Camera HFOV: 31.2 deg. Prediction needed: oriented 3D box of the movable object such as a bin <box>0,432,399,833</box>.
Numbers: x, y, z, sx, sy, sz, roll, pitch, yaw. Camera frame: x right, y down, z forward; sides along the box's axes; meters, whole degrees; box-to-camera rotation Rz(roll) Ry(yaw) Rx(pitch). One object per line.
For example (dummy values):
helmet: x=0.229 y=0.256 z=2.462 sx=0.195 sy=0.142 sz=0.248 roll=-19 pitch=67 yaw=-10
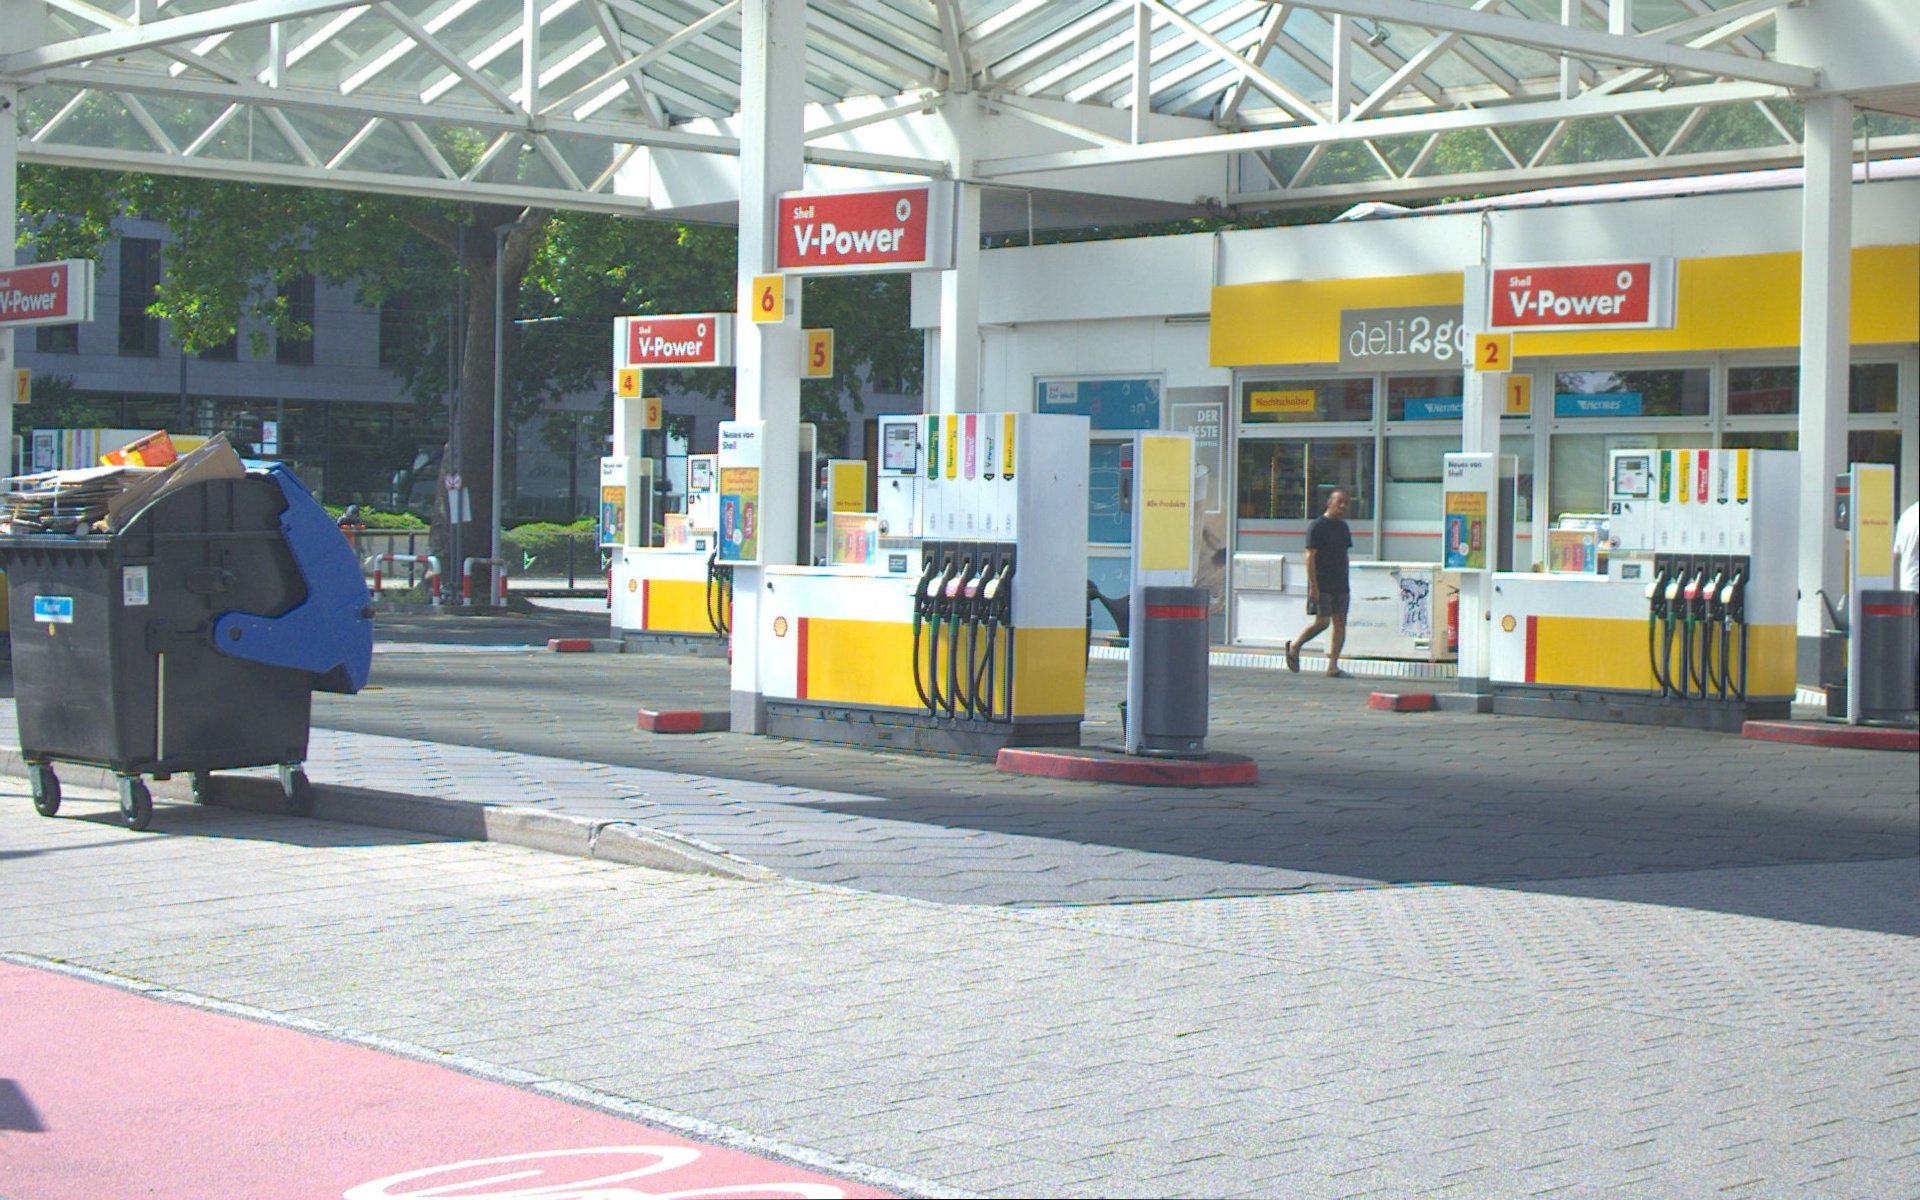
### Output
movable object such as a bin: x=-3.345 y=0.091 z=14.639 sx=1.308 sy=1.586 sz=1.395 roll=-3 pitch=4 yaw=-43

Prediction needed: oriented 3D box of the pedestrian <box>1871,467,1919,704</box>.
pedestrian: x=7.690 y=-0.109 z=26.964 sx=0.857 sy=1.831 sz=0.744 roll=2 pitch=1 yaw=28

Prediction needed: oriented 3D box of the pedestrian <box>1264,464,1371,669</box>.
pedestrian: x=3.211 y=-0.306 z=30.909 sx=0.673 sy=1.815 sz=0.631 roll=1 pitch=1 yaw=-34
